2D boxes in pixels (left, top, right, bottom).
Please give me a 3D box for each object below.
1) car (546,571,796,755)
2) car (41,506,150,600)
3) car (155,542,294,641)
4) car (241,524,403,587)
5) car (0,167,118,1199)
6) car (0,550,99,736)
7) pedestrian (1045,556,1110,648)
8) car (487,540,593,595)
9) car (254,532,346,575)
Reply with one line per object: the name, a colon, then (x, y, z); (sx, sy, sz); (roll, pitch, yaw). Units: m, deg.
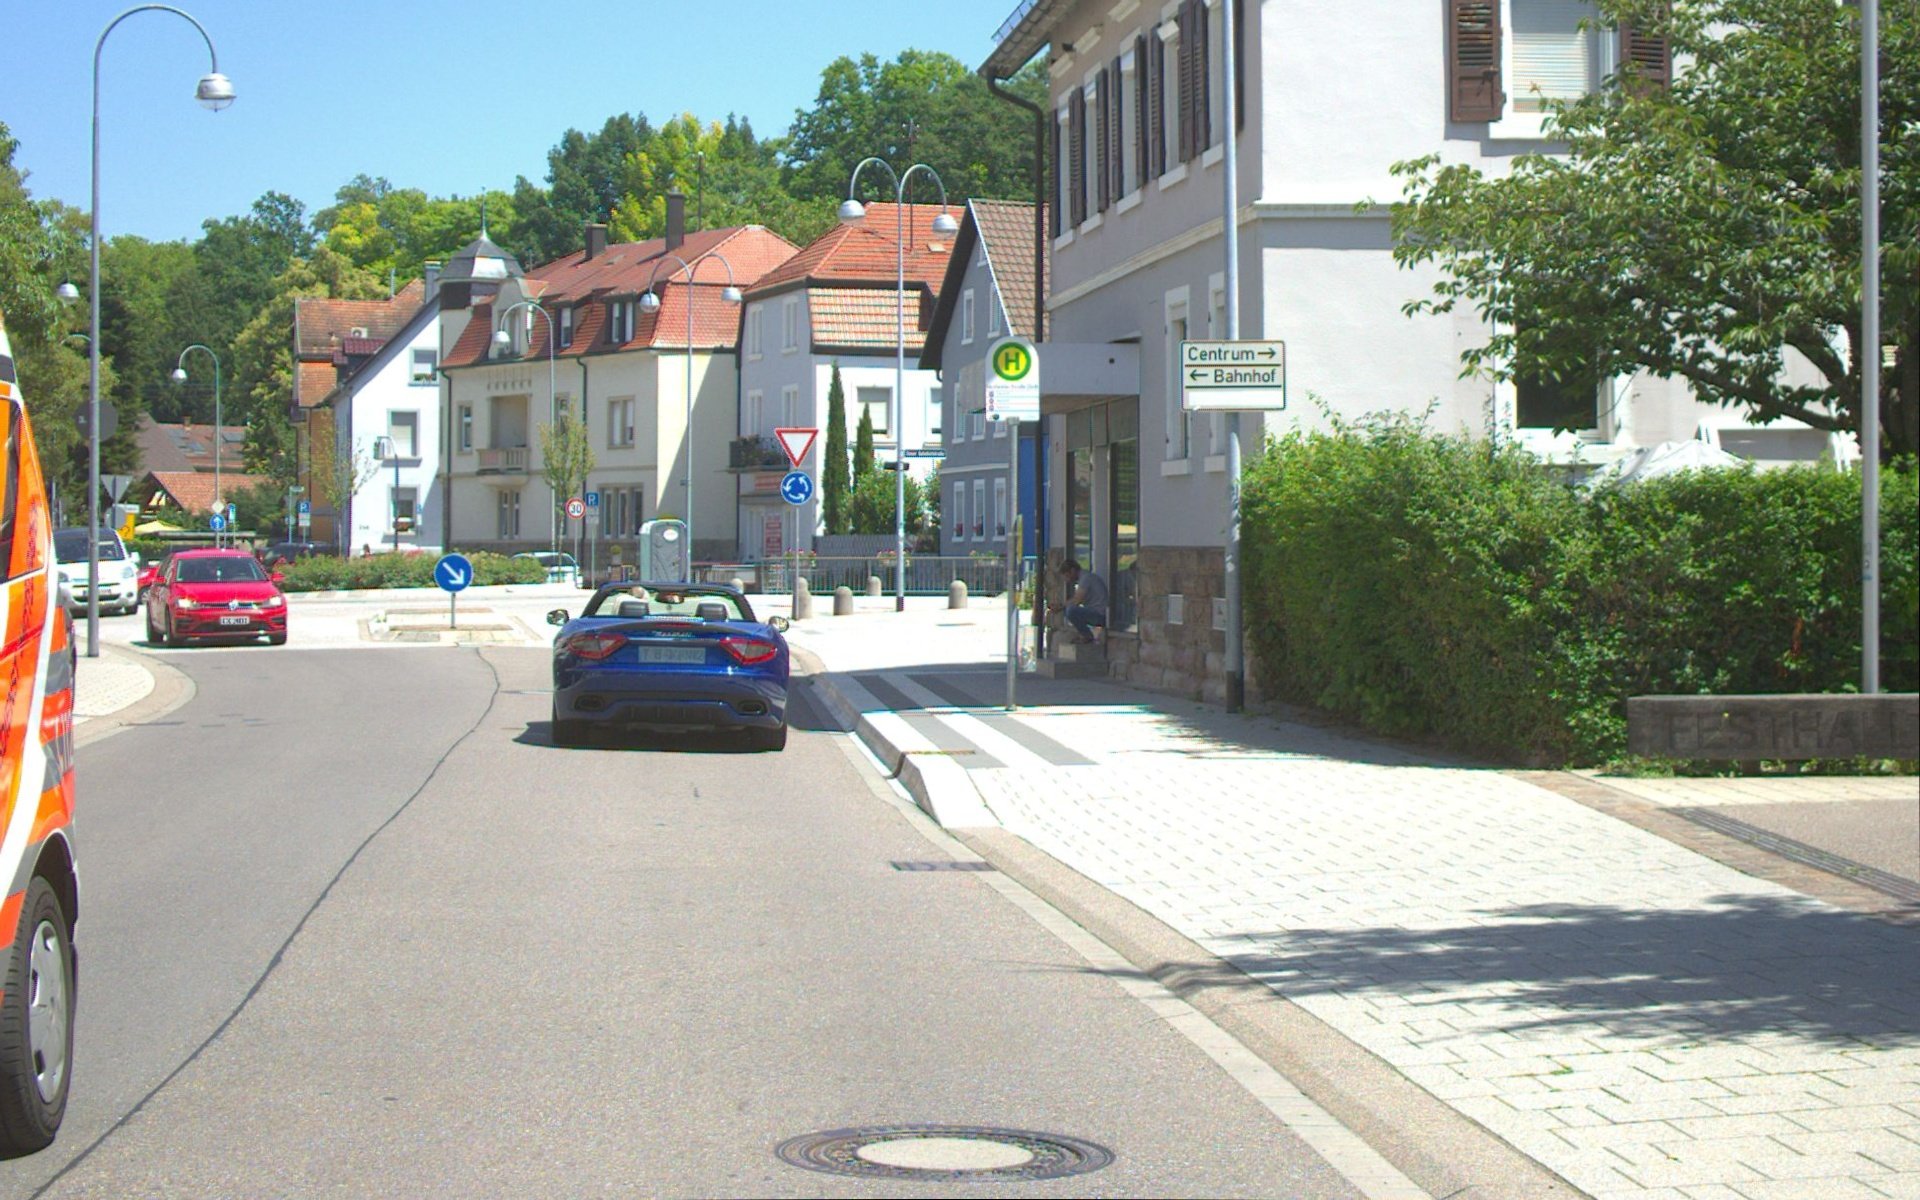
car: (-2.439, 0.474, 28.861); (1.910, 1.356, 4.286); (1, 1, -5)
car: (-17.554, -0.961, 69.724); (1.993, 1.816, 4.417); (-1, 1, -16)
car: (-11.392, -0.163, 53.434); (1.915, 1.422, 3.981); (-2, 1, -10)
car: (-14.038, -0.982, 75.474); (1.994, 1.325, 4.200); (-2, 1, -33)
car: (-3.164, 0.216, 6.698); (2.156, 2.354, 5.249); (-1, 1, -5)
car: (-8.918, 0.303, 30.487); (1.915, 1.476, 4.338); (3, 1, -7)
pedestrian: (1.300, 0.019, 38.154); (0.590, 0.996, 0.724); (-1, 1, -8)
car: (-12.794, -0.989, 104.601); (1.918, 1.607, 4.148); (-1, 0, -26)
car: (-25.090, -1.778, 130.678); (1.850, 1.582, 3.999); (-2, 2, -37)
